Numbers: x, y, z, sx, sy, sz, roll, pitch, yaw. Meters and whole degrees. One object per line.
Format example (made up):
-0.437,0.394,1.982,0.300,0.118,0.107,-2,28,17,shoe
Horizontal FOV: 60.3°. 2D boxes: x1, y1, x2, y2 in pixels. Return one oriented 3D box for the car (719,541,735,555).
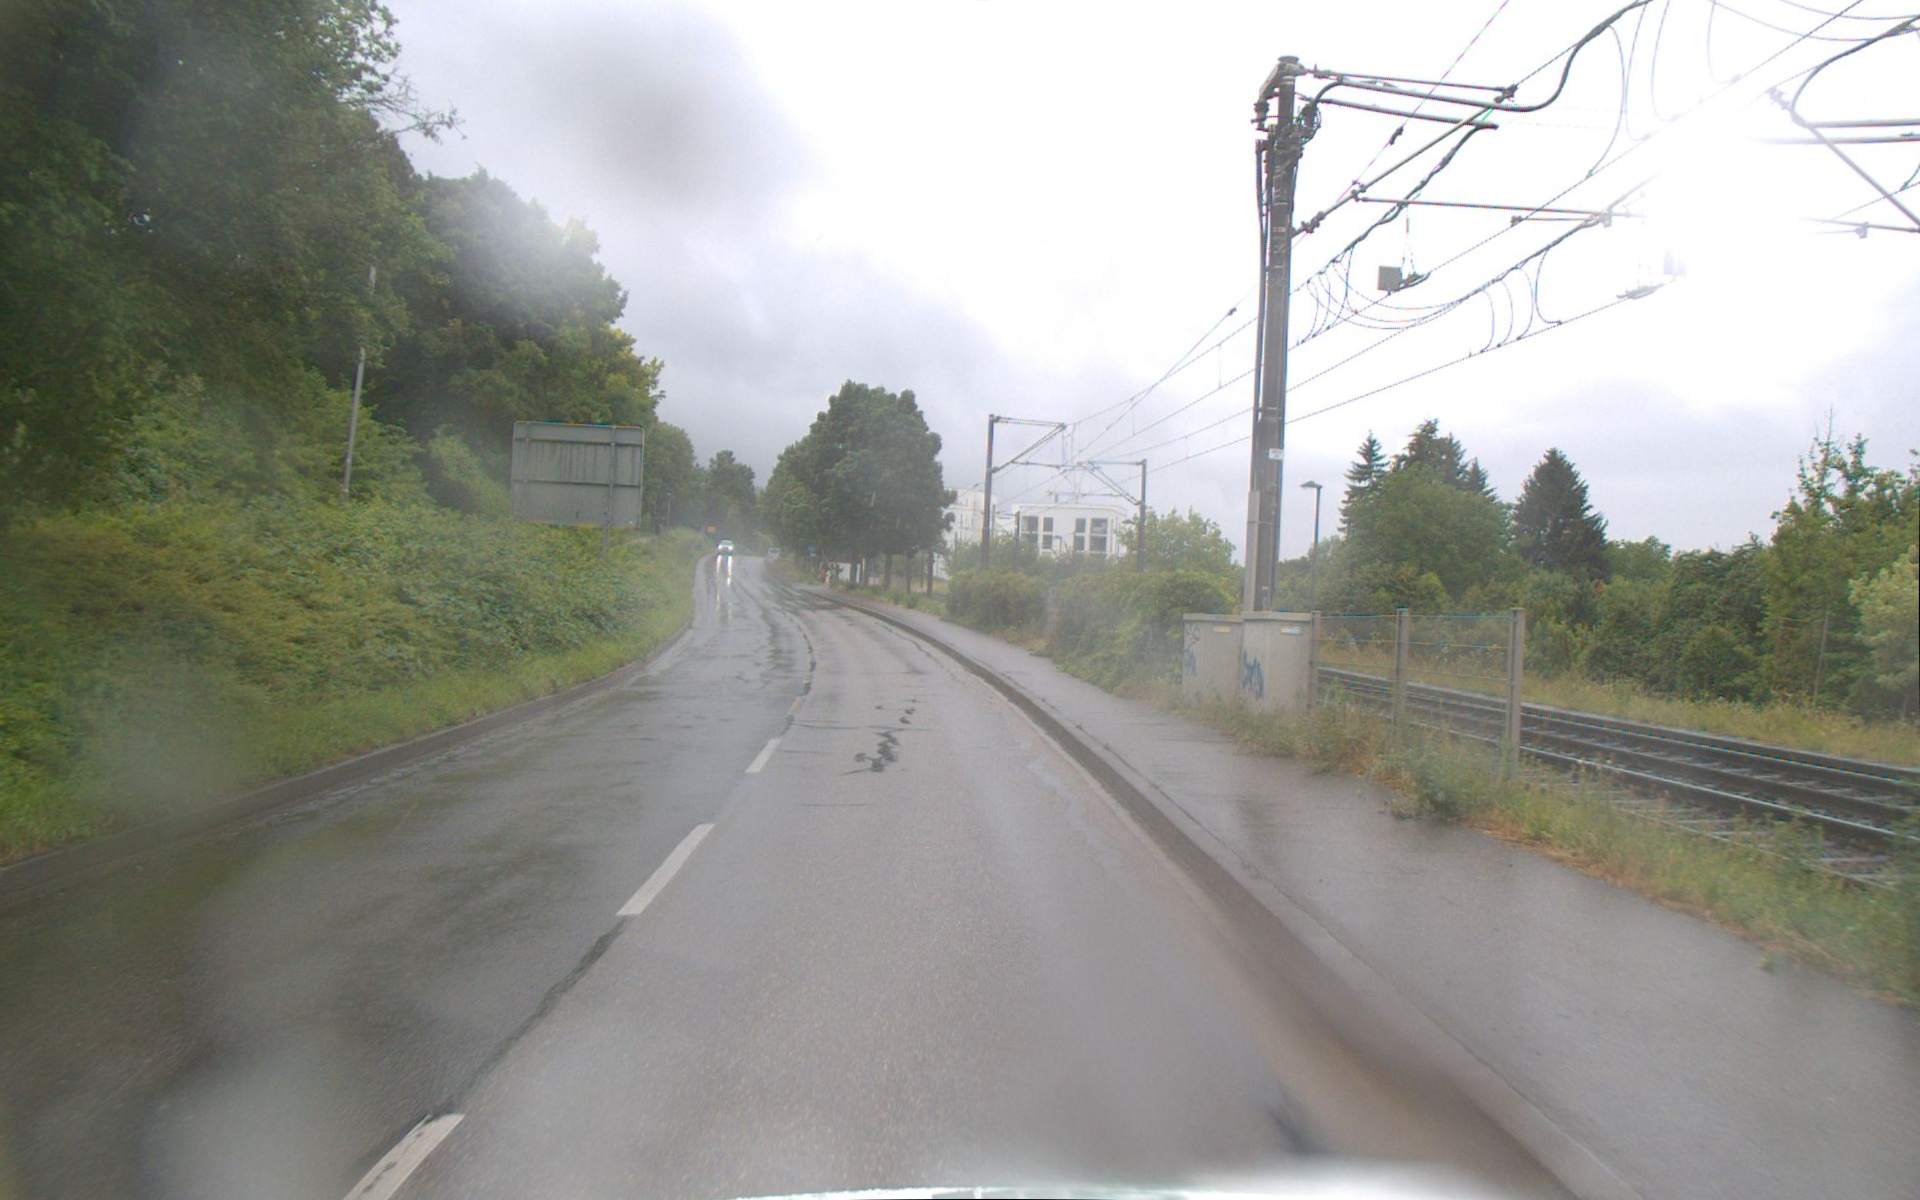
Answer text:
-28.091,-6.262,199.092,1.711,1.639,4.083,3,2,-7,car
